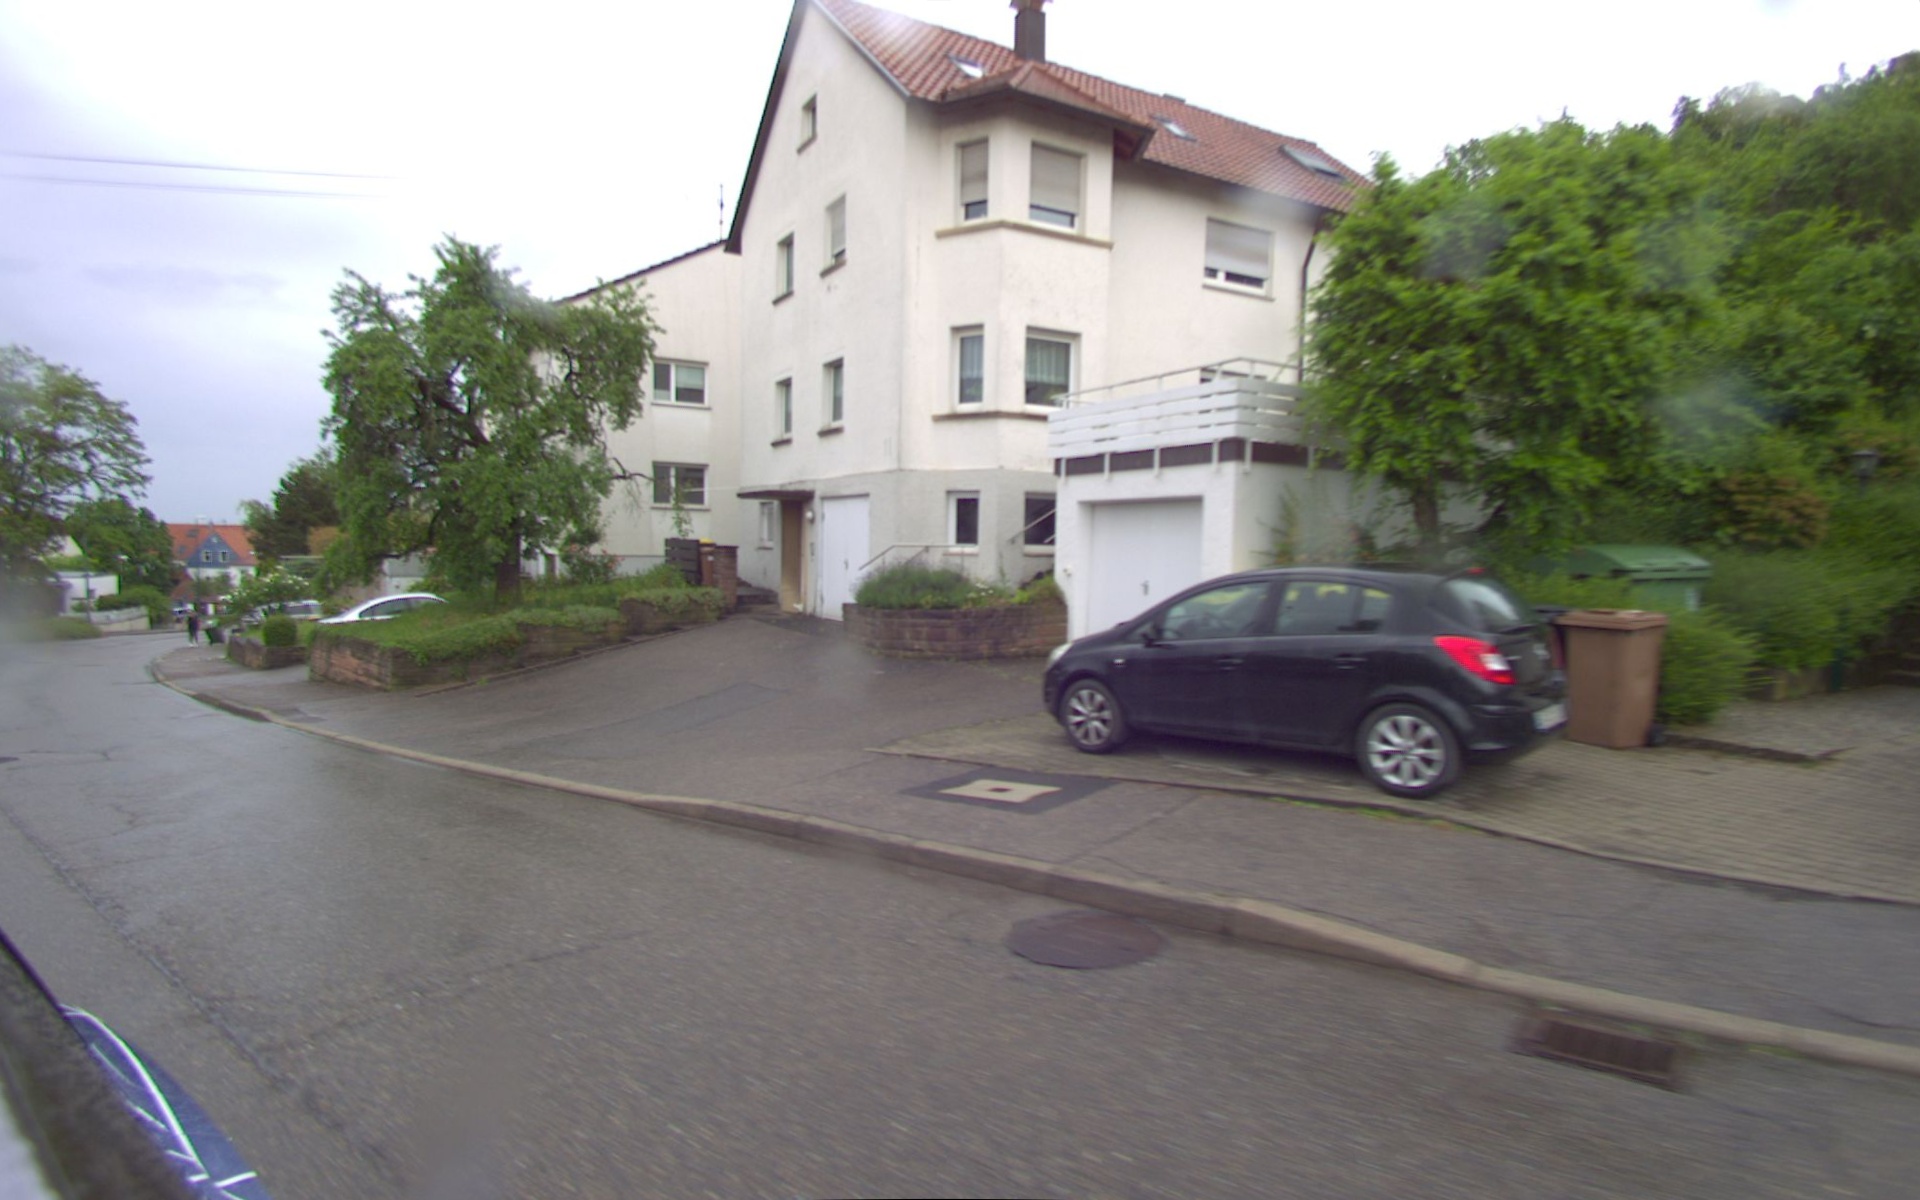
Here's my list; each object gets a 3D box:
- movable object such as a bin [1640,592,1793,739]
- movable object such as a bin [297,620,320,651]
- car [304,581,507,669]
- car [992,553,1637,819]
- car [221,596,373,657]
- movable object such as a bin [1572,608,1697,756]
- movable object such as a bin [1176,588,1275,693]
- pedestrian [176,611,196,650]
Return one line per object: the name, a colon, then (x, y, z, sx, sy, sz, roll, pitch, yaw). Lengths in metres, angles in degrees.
movable object such as a bin: (5.955, 0.489, 7.980, 0.759, 1.086, 0.704, 0, -1, -30)
movable object such as a bin: (-22.738, 1.233, 35.320, 0.530, 1.027, 0.712, -6, 3, -38)
car: (-13.904, 0.561, 25.542, 4.197, 1.441, 1.772, -11, 6, -30)
car: (2.388, 0.456, 7.645, 1.745, 1.386, 4.251, -5, 3, -43)
car: (-24.348, 0.928, 37.252, 4.453, 1.625, 1.937, -8, 5, -36)
movable object such as a bin: (5.207, 0.606, 7.817, 0.643, 1.086, 0.559, 0, -1, -30)
movable object such as a bin: (2.819, 0.419, 10.768, 0.740, 1.065, 0.703, 1, -1, -35)
pedestrian: (-34.040, 1.341, 44.517, 0.647, 1.661, 0.734, -1, -2, -39)
